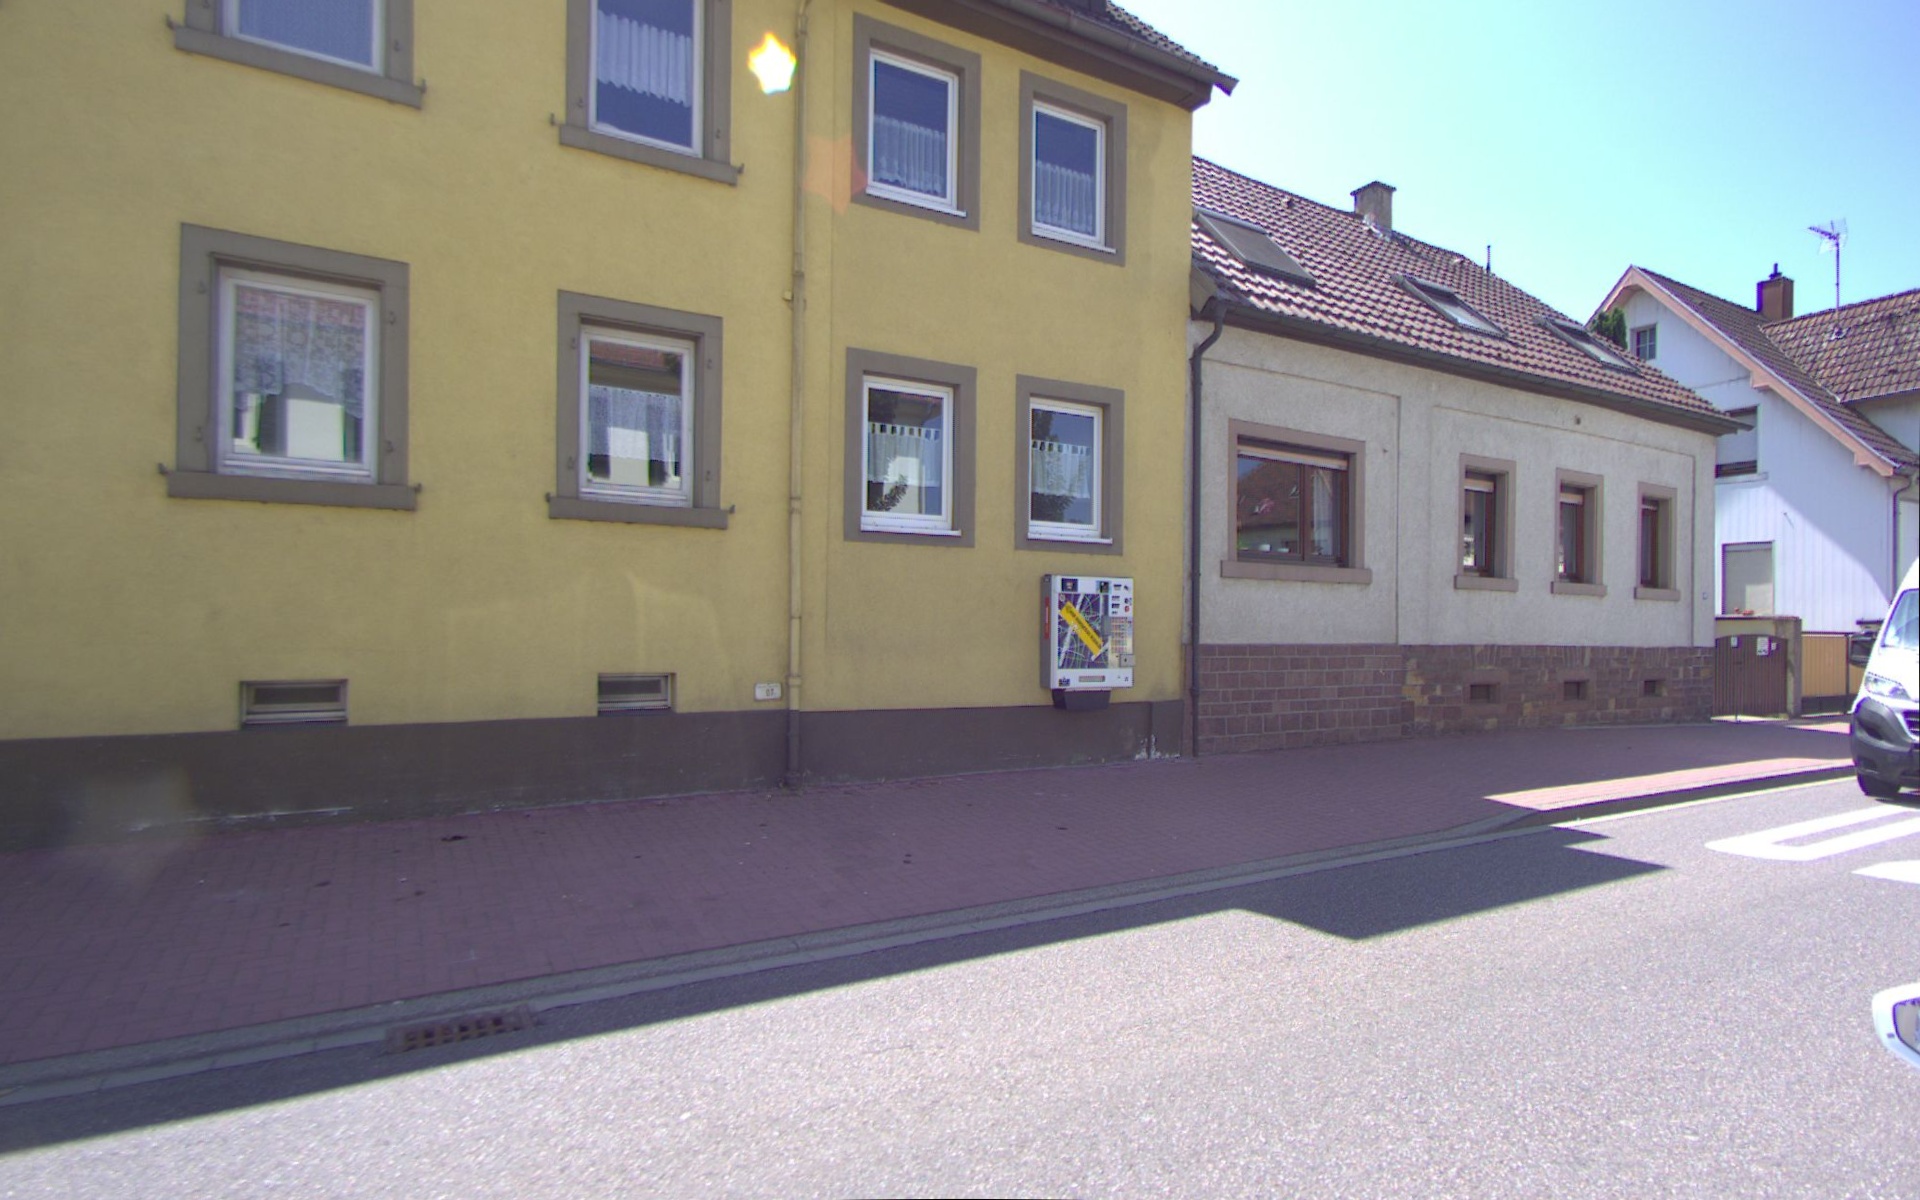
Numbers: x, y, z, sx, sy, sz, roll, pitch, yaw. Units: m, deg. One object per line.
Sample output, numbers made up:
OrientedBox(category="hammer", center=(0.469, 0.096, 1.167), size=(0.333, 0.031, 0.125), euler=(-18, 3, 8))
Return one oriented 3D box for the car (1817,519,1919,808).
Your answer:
OrientedBox(category="car", center=(10.970, 0.608, 9.918), size=(5.939, 2.487, 2.059), euler=(2, -2, -32))
